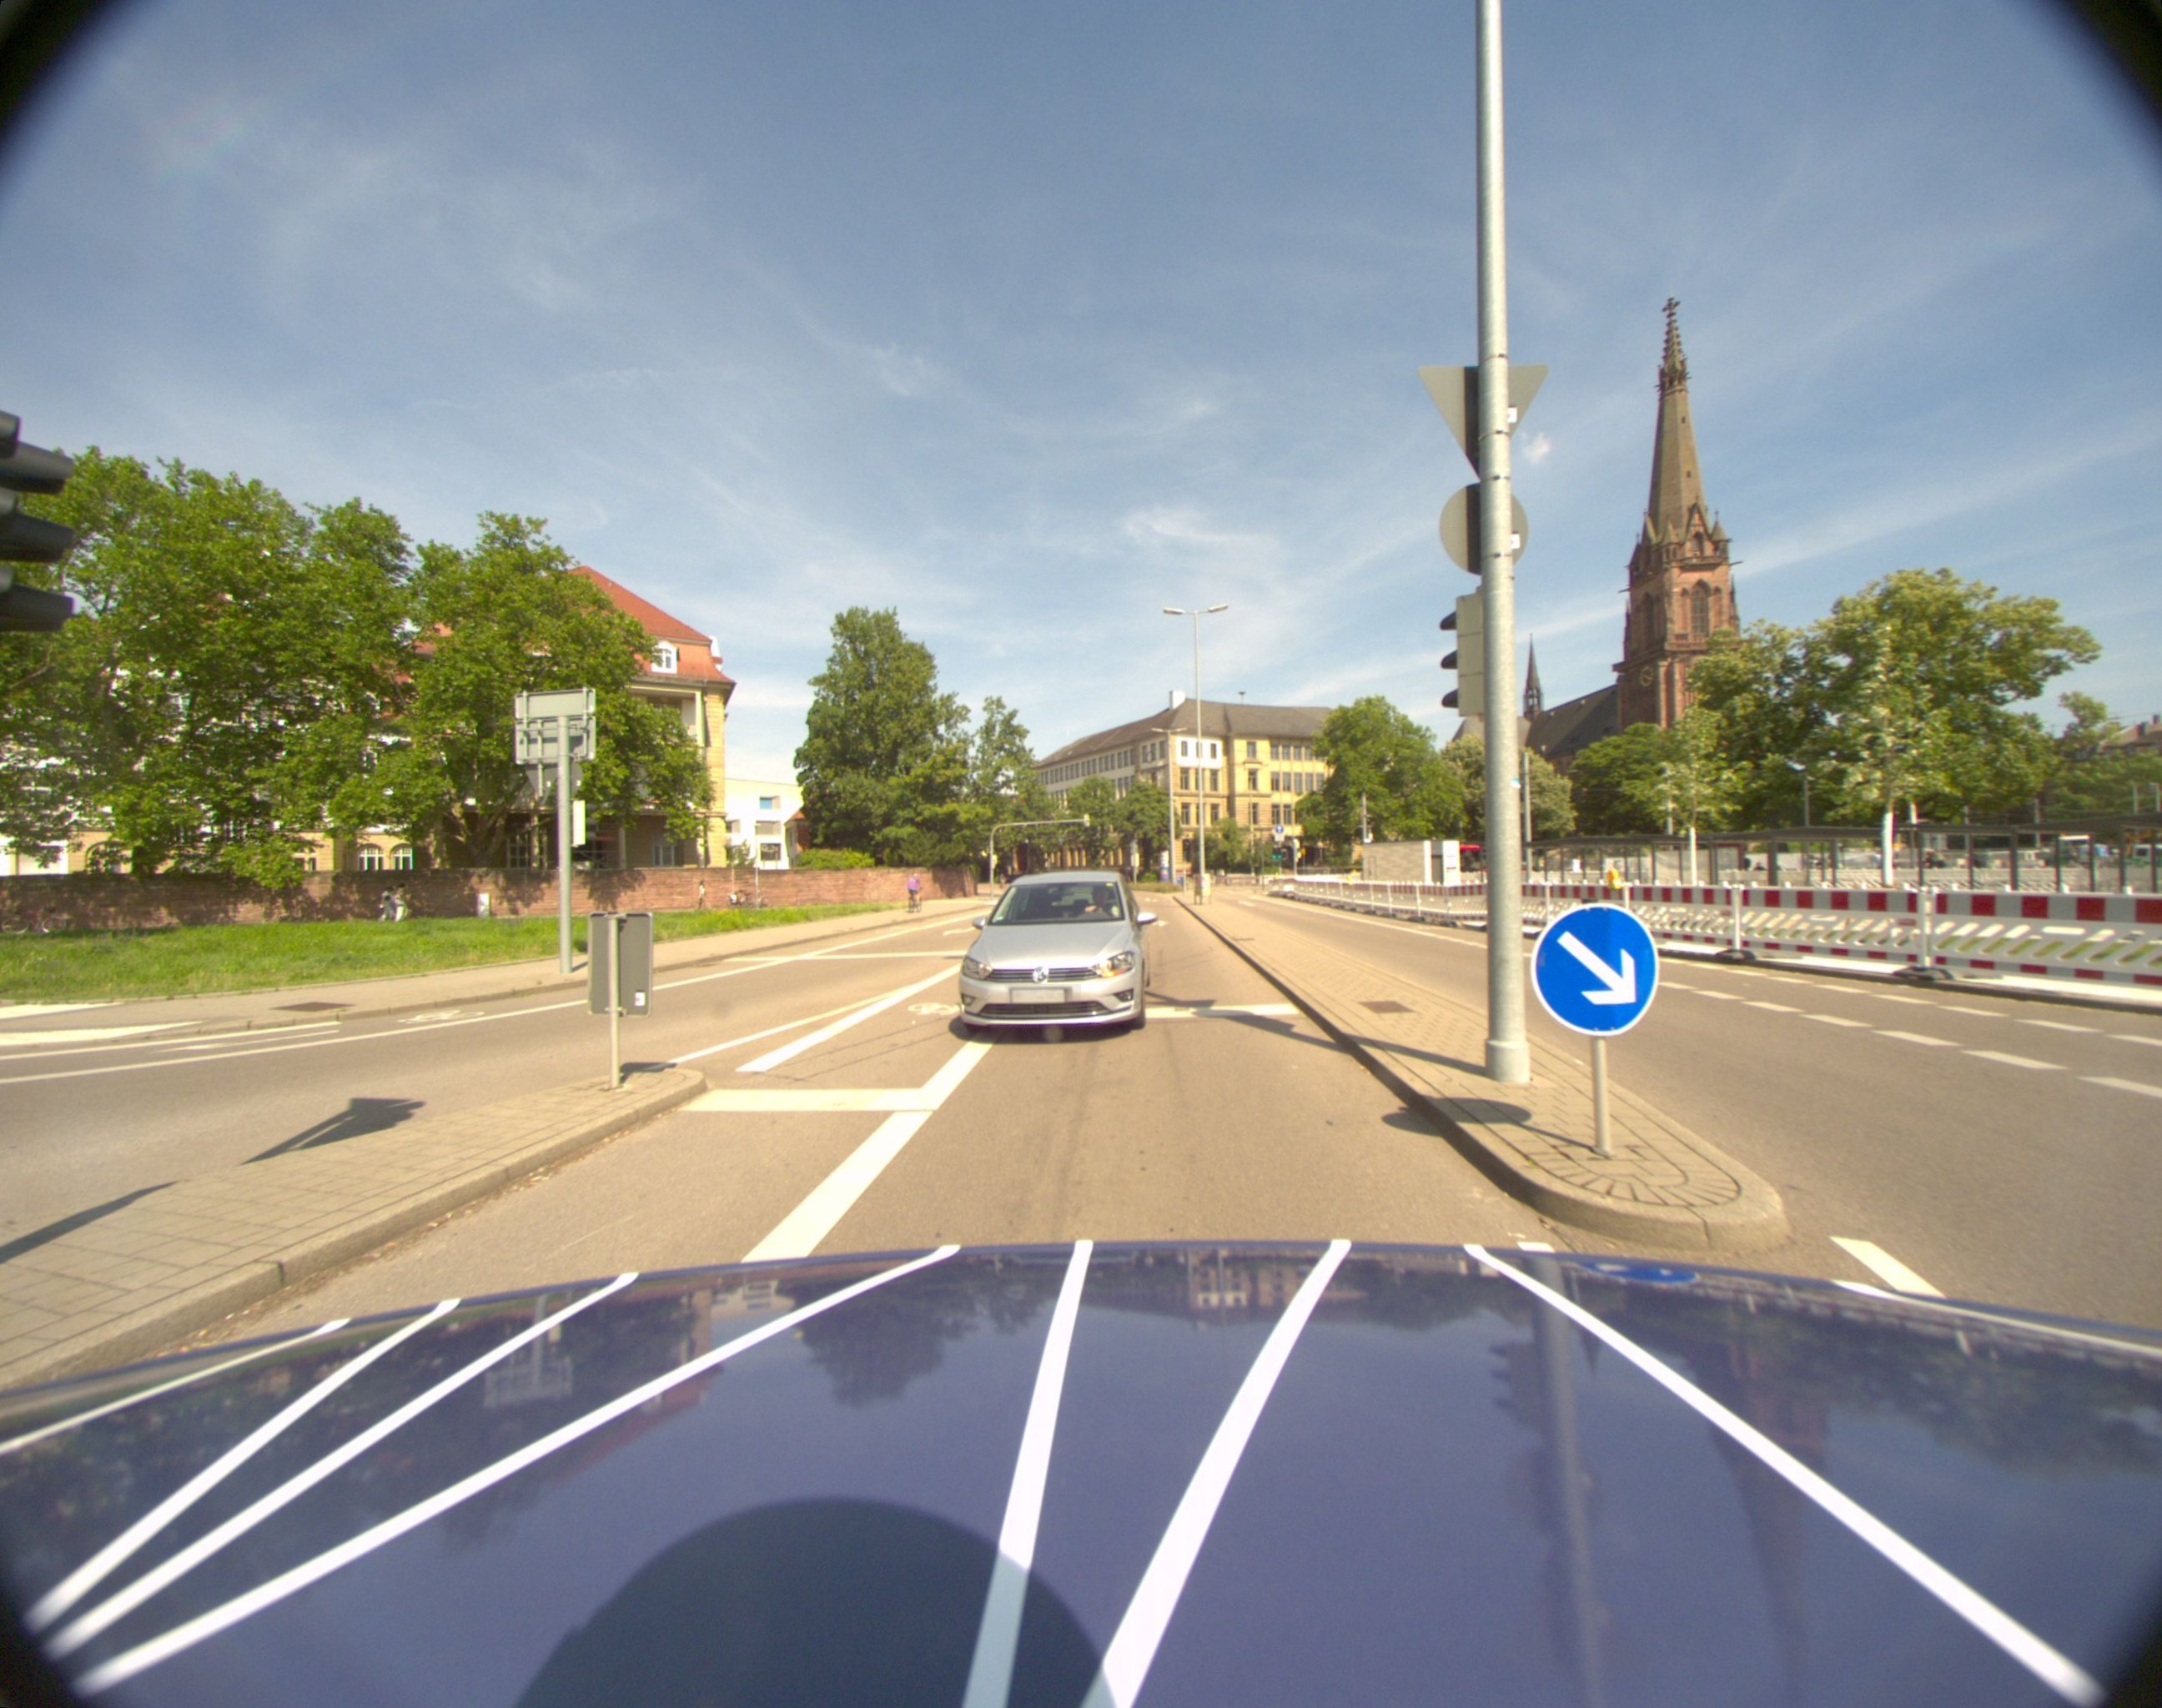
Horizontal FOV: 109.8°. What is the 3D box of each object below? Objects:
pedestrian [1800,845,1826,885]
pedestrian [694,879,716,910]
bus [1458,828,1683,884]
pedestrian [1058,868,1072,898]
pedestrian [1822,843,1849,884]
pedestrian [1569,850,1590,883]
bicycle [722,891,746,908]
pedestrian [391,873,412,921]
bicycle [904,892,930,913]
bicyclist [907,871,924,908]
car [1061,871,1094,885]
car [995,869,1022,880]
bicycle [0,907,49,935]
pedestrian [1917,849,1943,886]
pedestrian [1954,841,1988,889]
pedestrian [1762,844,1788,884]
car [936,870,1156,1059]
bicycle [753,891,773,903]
[{"bbox_3d":[36.887,0.544,38.297,0.821,2.002,0.685,-1,0,-26],"label":"pedestrian"},{"bbox_3d":[-19.494,2.084,39.387,0.915,1.539,0.502,-1,0,-32],"label":"pedestrian"},{"bbox_3d":[32.844,0.294,51.809,3.139,3.075,12.383,-3,-1,-39],"label":"bus"},{"bbox_3d":[-1.086,1.929,50.584,0.795,2.001,0.616,-1,-1,-10],"label":"pedestrian"},{"bbox_3d":[37.370,0.484,37.654,0.821,2.001,0.685,-1,0,-26],"label":"pedestrian"},{"bbox_3d":[30.304,0.746,46.232,0.819,2.001,0.687,-1,0,7],"label":"pedestrian"},{"bbox_3d":[-18.572,2.427,40.700,0.393,0.877,1.230,-1,-1,24],"label":"bicycle"},{"bbox_3d":[-29.181,1.828,32.637,0.597,2.002,0.522,-1,0,-37],"label":"pedestrian"},{"bbox_3d":[-7.474,2.204,34.774,0.684,0.882,1.933,-1,-1,3],"label":"bicycle"},{"bbox_3d":[-7.578,1.604,34.812,0.488,1.627,1.085,-1,0,2],"label":"bicyclist"},{"bbox_3d":[-0.470,3.334,105.596,4.006,1.652,1.995,-3,2,-30],"label":"car"},{"bbox_3d":[-12.272,3.476,128.742,4.005,1.652,1.995,-3,2,-30],"label":"car"},{"bbox_3d":[-41.431,2.612,29.596,1.449,1.027,0.447,-1,-1,-22],"label":"bicycle"},{"bbox_3d":[38.664,0.612,34.618,0.822,1.651,0.743,0,-1,-44],"label":"pedestrian"},{"bbox_3d":[38.004,0.456,32.438,0.821,2.001,0.685,-1,0,-20],"label":"pedestrian"},{"bbox_3d":[35.550,0.519,38.905,0.821,2.001,0.685,-1,0,-26],"label":"pedestrian"},{"bbox_3d":[-0.121,0.999,8.619,1.687,1.576,4.155,-1,-1,9],"label":"car"},{"bbox_3d":[-17.603,2.373,42.070,0.274,0.598,0.950,-1,-1,43],"label":"bicycle"}]
